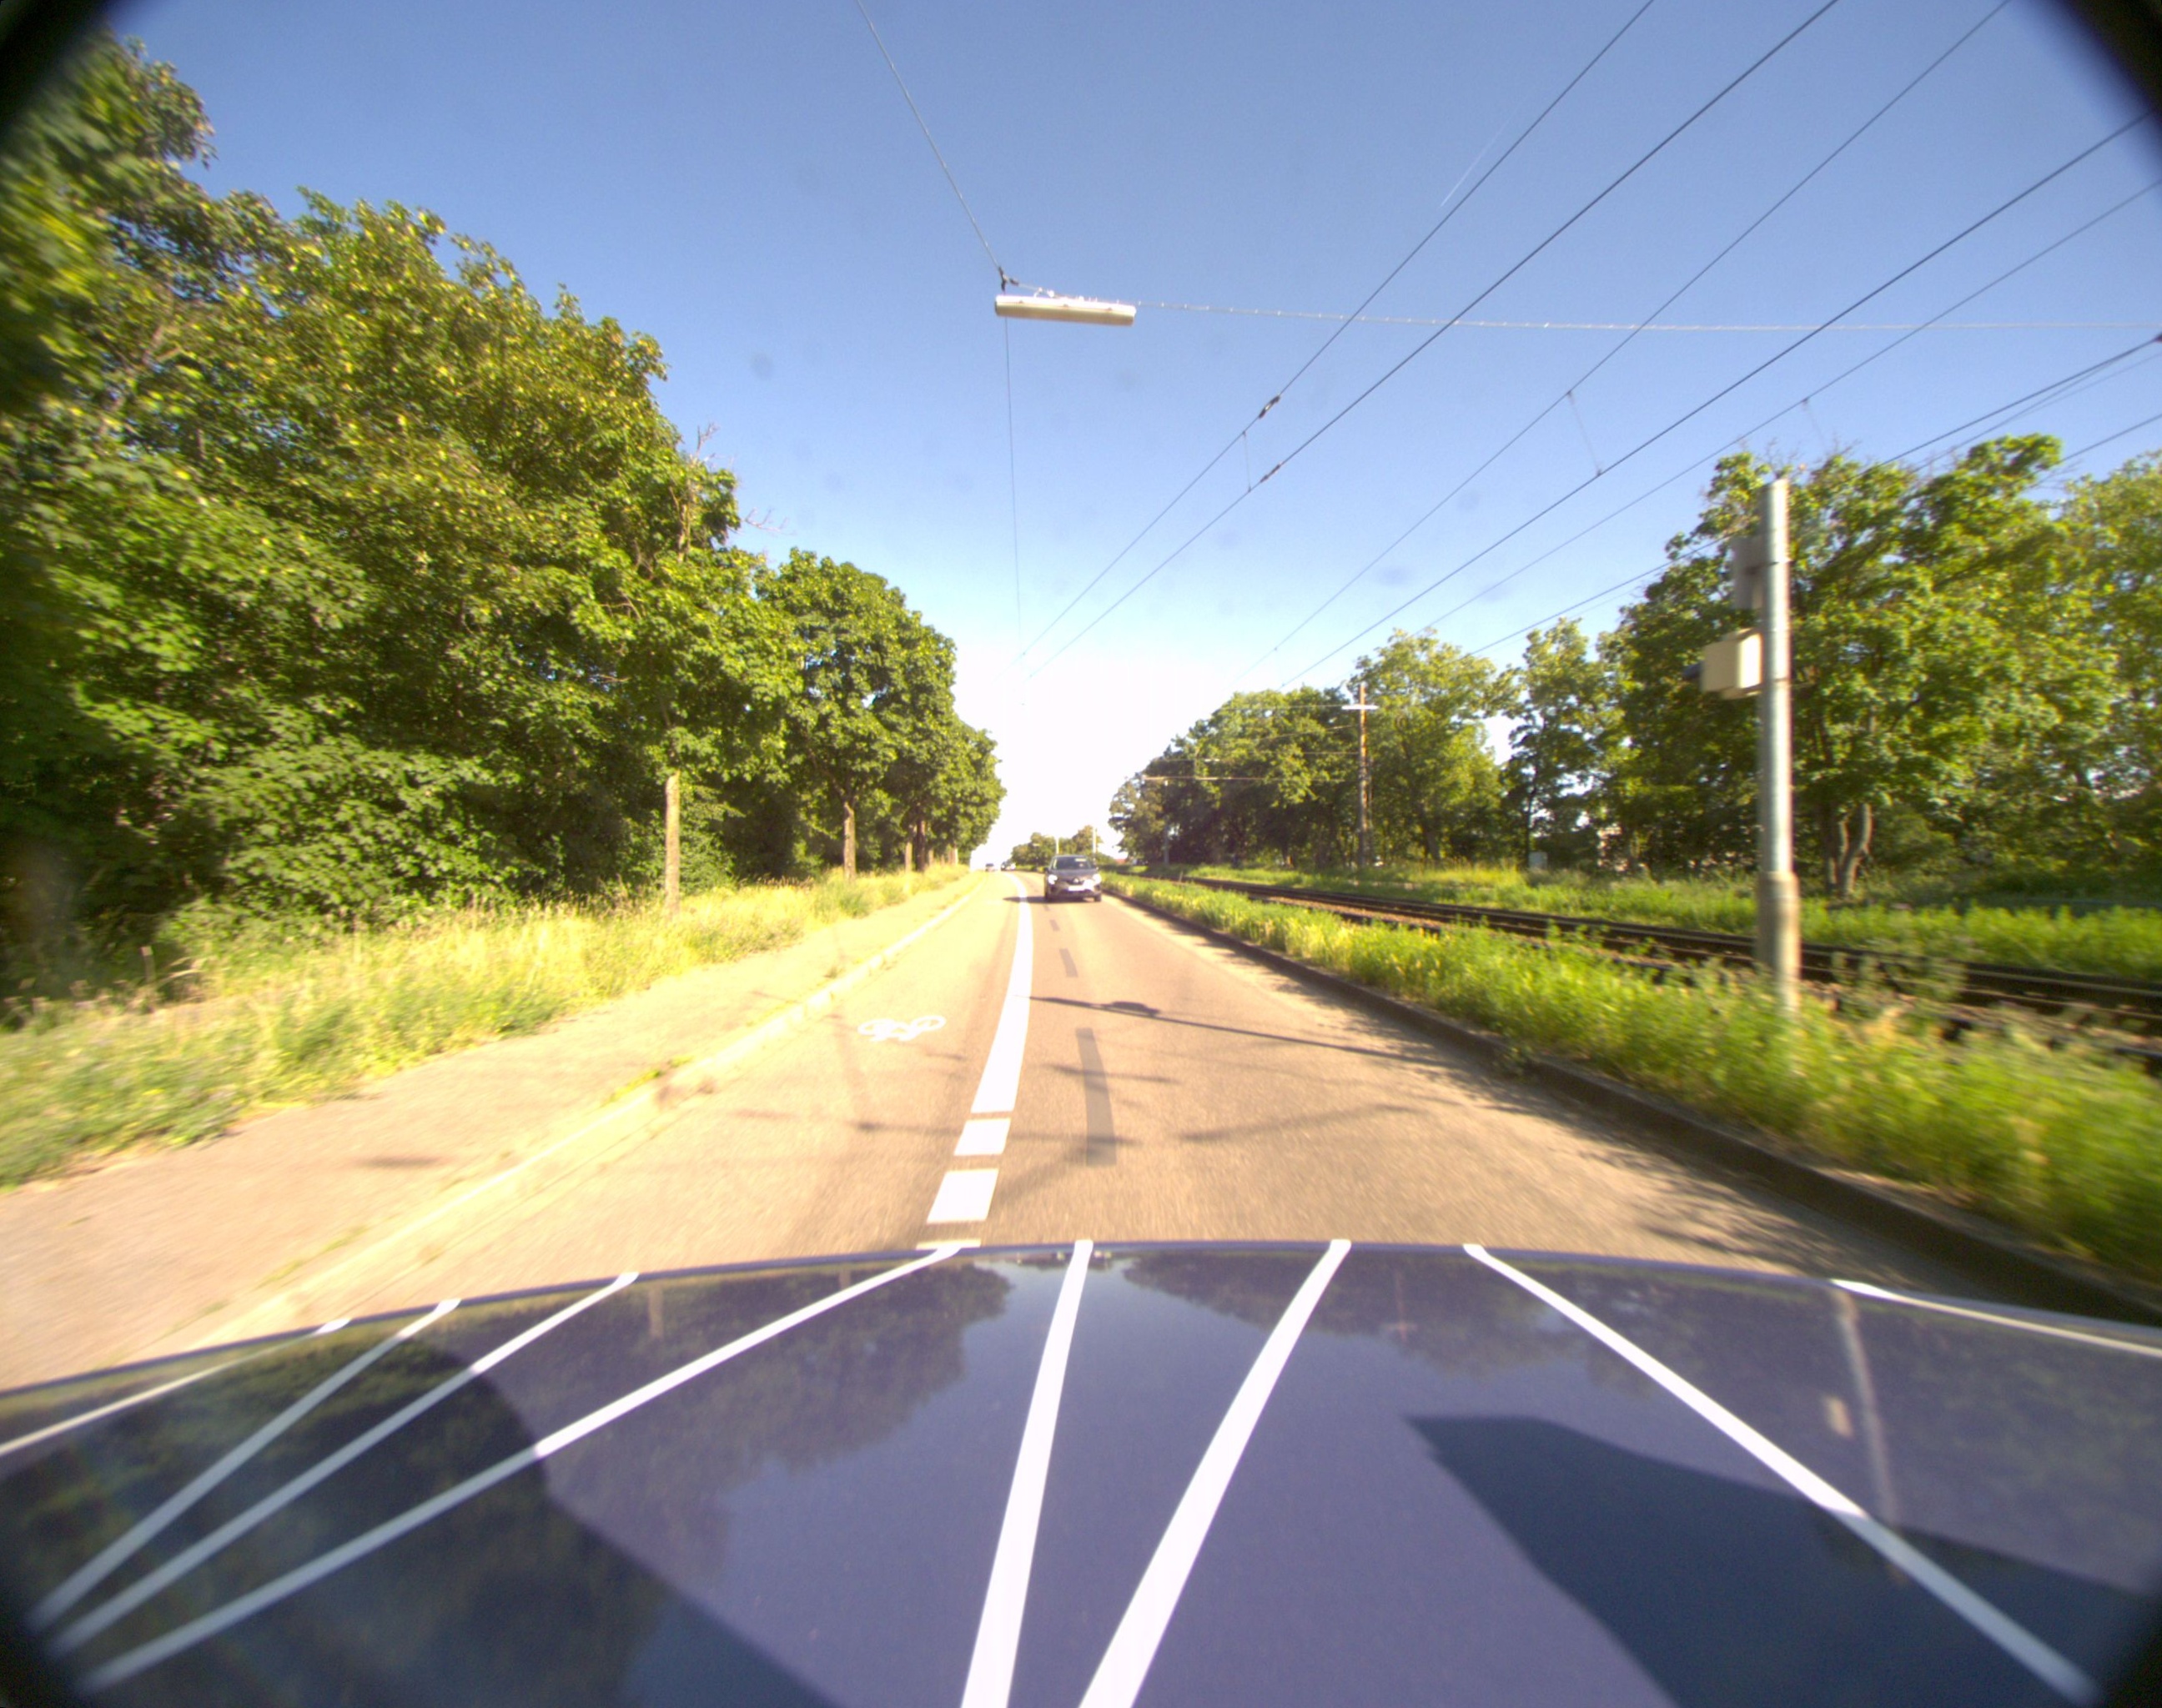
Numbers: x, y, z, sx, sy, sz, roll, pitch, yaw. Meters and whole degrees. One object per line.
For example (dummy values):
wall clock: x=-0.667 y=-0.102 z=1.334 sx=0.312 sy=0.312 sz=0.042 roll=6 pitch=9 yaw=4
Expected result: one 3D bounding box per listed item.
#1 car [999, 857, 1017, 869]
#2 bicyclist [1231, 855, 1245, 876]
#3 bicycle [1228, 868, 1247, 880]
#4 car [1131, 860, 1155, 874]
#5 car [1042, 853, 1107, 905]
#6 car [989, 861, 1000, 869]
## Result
car: x=-9.685 y=1.180 z=100.835 sx=2.000 sy=1.577 sz=3.997 roll=-2 pitch=0 yaw=-10
bicyclist: x=12.601 y=0.922 z=60.955 sx=0.821 sy=1.726 sz=0.902 roll=-1 pitch=0 yaw=-5
bicycle: x=12.565 y=1.613 z=61.124 sx=0.820 sy=0.909 sz=2.536 roll=-1 pitch=0 yaw=-5
car: x=6.879 y=1.430 z=84.821 sx=1.716 sy=1.470 sz=3.997 roll=-1 pitch=0 yaw=-8
car: x=-0.317 y=0.803 z=26.361 sx=1.822 sy=1.589 sz=4.411 roll=-2 pitch=0 yaw=-5
car: x=-19.289 y=2.422 z=169.361 sx=2.000 sy=1.577 sz=3.996 roll=-2 pitch=0 yaw=-12
